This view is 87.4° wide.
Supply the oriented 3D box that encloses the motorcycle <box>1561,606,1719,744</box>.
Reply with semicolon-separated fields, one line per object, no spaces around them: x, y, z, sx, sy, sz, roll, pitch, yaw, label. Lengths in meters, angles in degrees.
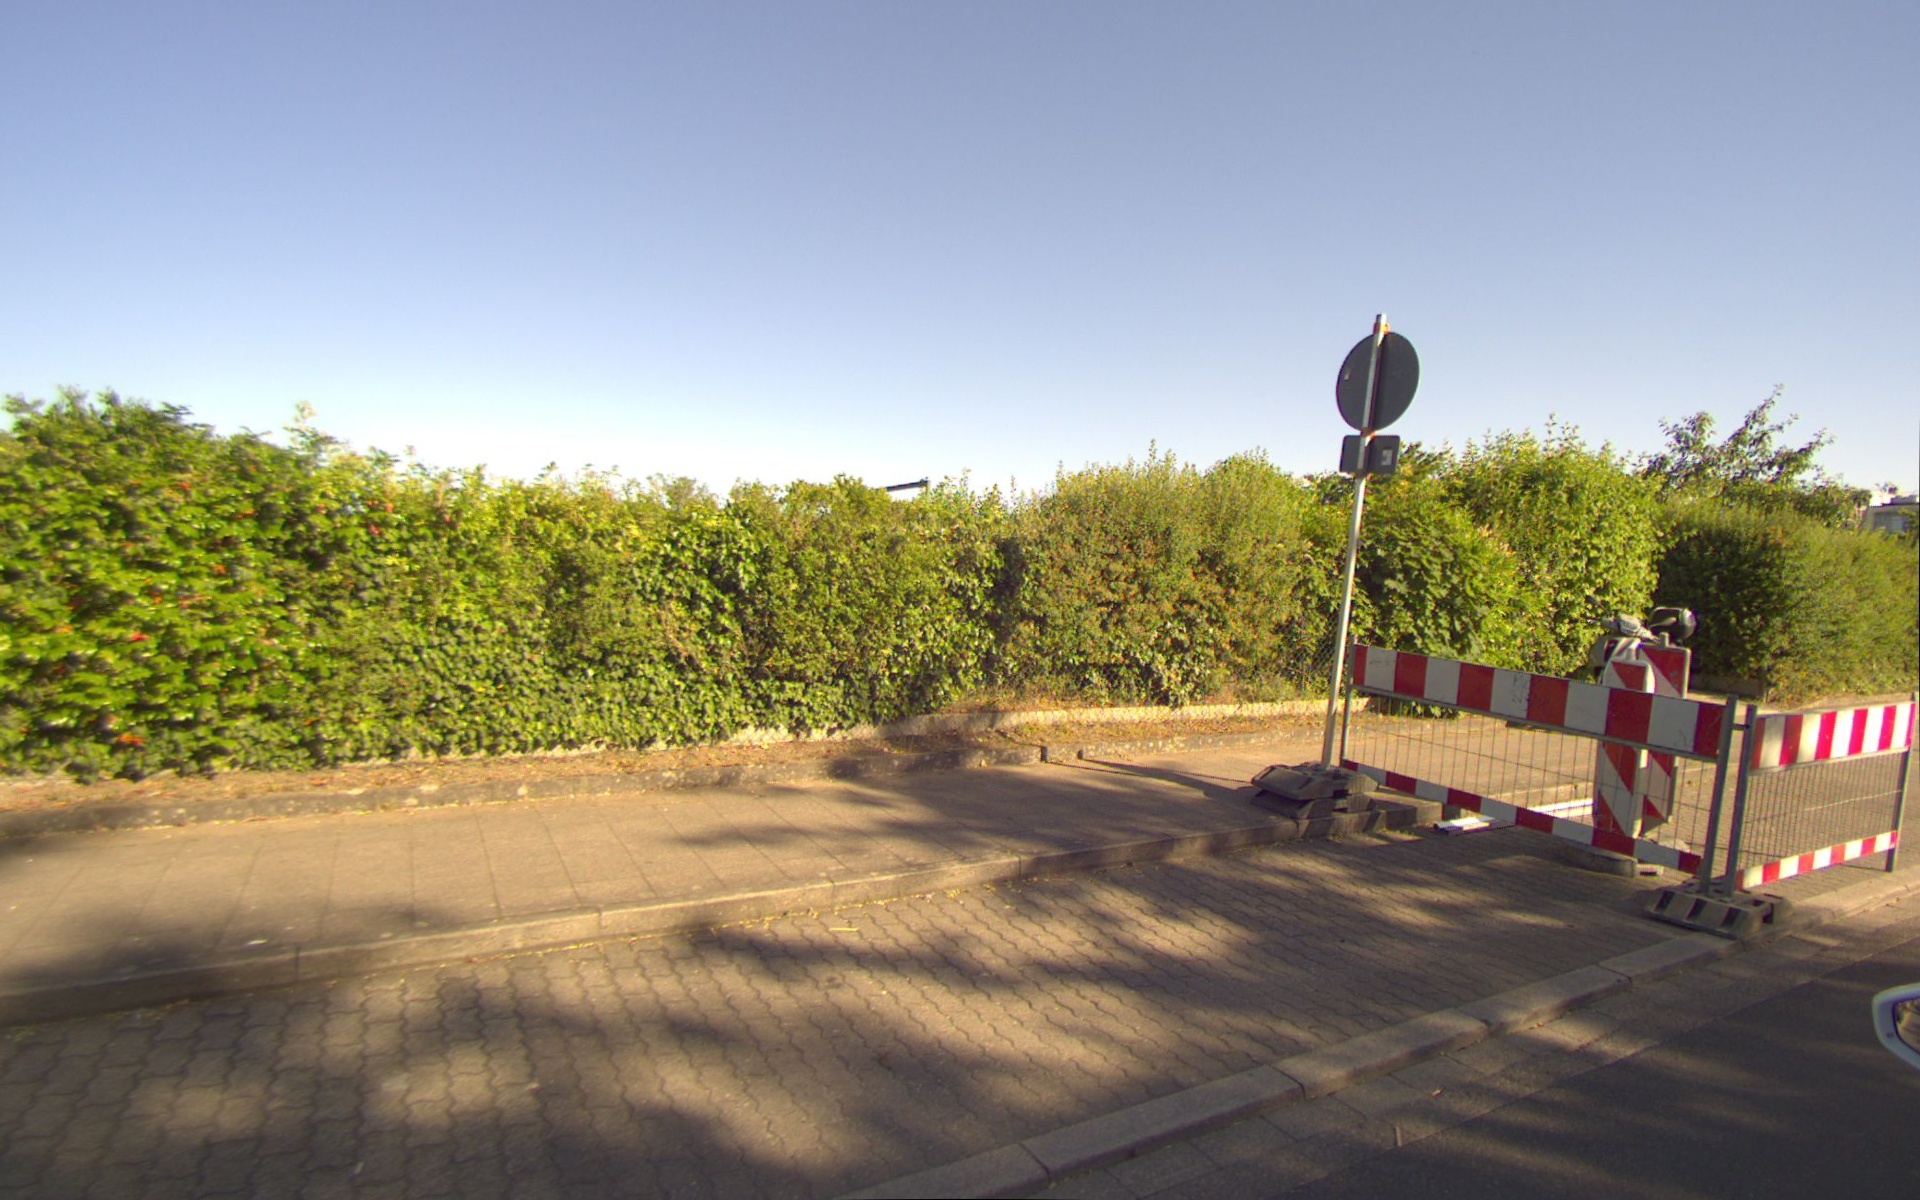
7.029;0.744;10.351;2.069;1.285;0.563;2;2;-34;motorcycle
